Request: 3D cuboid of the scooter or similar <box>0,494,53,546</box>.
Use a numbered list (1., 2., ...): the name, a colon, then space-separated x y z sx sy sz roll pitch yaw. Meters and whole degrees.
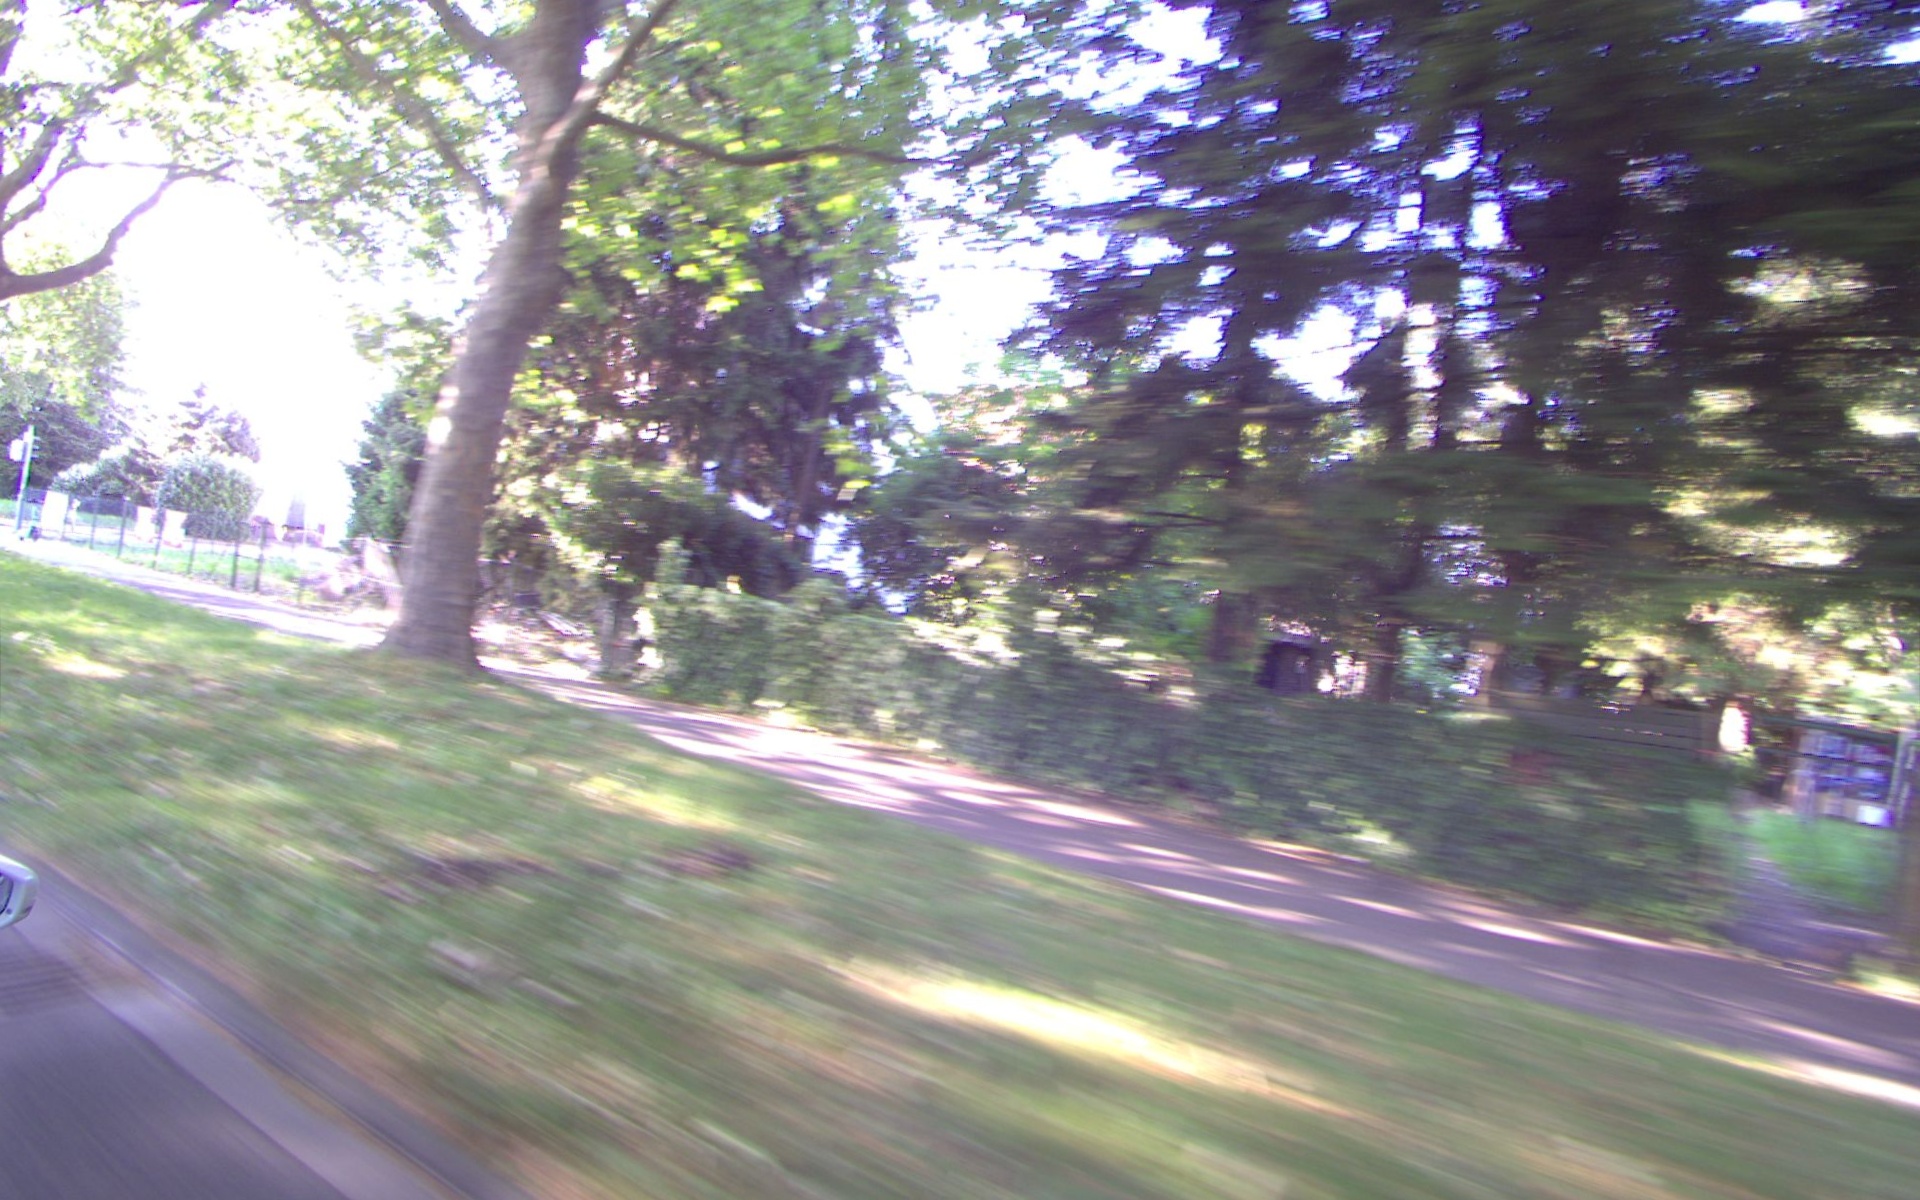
1. scooter or similar: -26.304 -2.247 28.292 2.276 1.273 0.550 6 0 34
